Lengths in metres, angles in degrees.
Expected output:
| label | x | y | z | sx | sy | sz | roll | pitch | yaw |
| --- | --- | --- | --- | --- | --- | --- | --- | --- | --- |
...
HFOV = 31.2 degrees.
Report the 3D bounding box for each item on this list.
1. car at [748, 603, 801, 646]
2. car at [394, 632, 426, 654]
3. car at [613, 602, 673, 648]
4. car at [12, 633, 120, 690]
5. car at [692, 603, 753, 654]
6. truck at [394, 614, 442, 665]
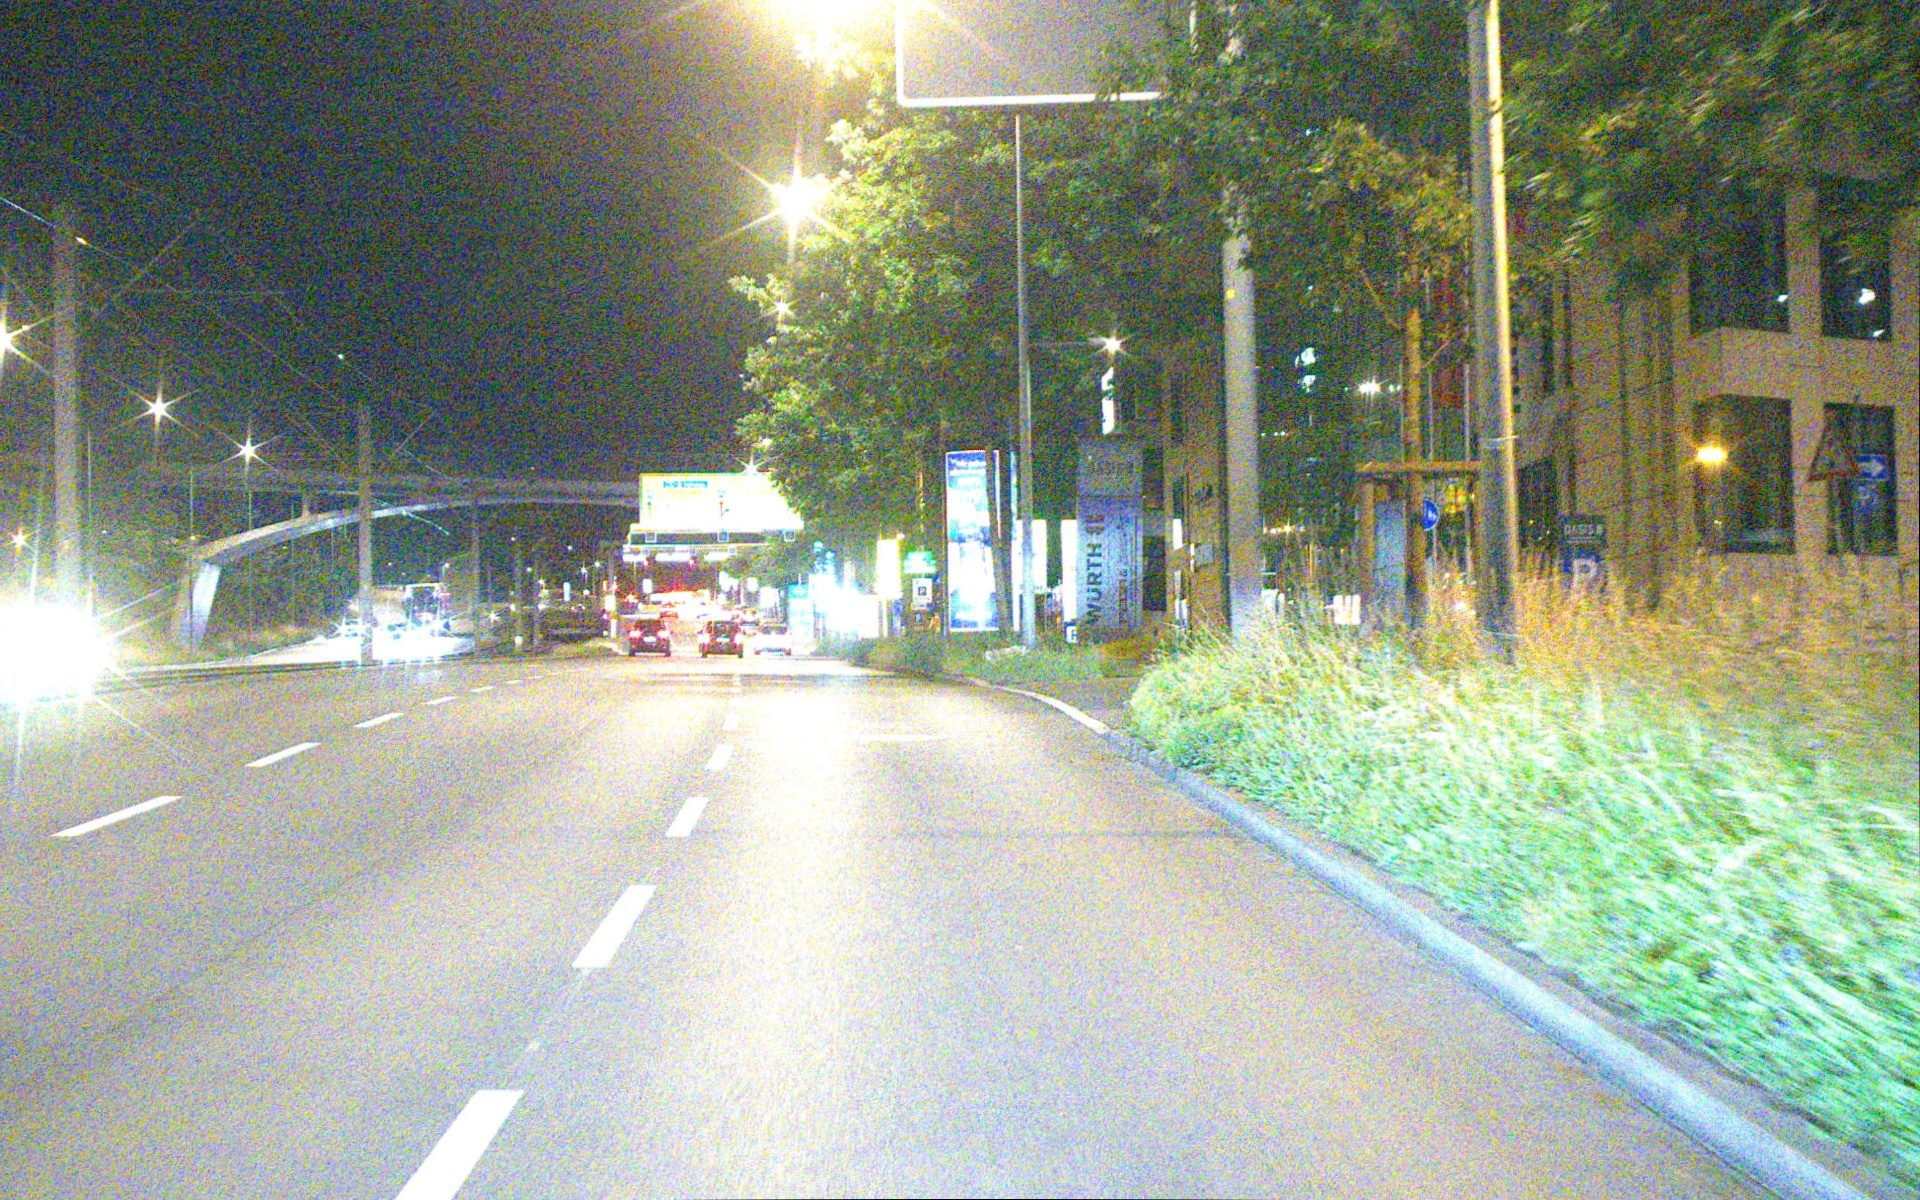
| label | x | y | z | sx | sy | sz | roll | pitch | yaw |
| --- | --- | --- | --- | --- | --- | --- | --- | --- | --- |
| car | -9.309 | 1.232 | 172.777 | 2.427 | 2.106 | 4.826 | 0 | 0 | -1 |
| car | -38.817 | 3.034 | 242.776 | 1.910 | 1.469 | 3.772 | 0 | 0 | -4 |
| car | -13.980 | 1.093 | 151.799 | 2.262 | 2.007 | 4.826 | 0 | 0 | -1 |
| car | -24.024 | 1.637 | 92.514 | 1.866 | 1.424 | 4.957 | 0 | 0 | -3 |
| car | -10.175 | 1.215 | 147.616 | 2.356 | 2.122 | 4.826 | 0 | 0 | -1 |
| truck | -40.802 | 2.944 | 258.942 | 3.040 | 3.806 | 4.935 | 0 | 0 | -3 |
